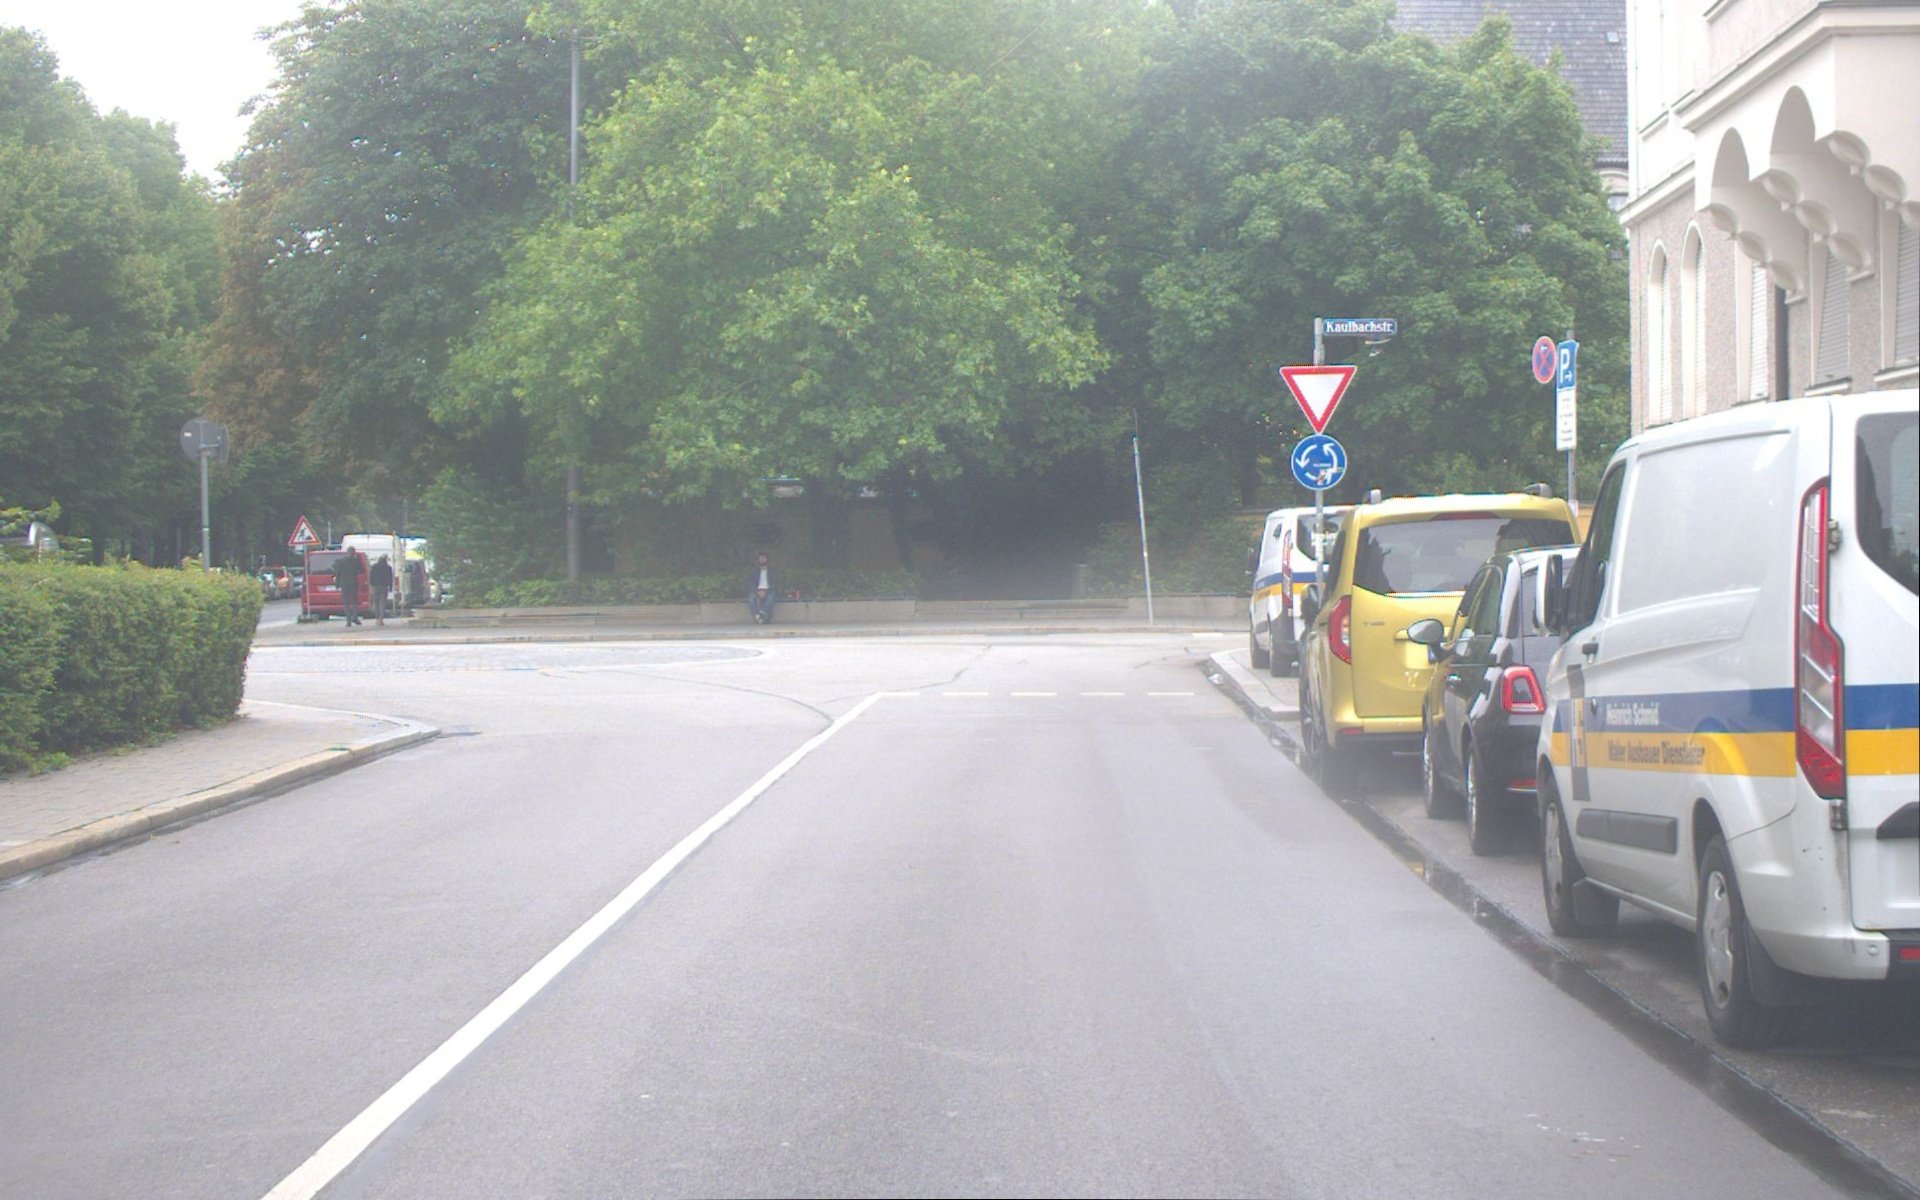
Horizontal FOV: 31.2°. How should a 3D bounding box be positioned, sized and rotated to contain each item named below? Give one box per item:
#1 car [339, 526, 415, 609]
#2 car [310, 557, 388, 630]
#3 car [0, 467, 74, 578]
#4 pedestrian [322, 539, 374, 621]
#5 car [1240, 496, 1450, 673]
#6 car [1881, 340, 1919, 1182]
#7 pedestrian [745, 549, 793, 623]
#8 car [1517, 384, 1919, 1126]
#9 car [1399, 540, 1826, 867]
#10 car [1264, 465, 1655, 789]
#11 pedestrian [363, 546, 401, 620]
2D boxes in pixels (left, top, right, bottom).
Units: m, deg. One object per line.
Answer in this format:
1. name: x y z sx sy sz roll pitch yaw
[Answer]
1. car: -18.611 -1.039 109.903 1.993 2.549 5.431 -1 1 -6
2. car: -16.738 -0.197 94.318 1.911 1.930 4.970 -1 1 -8
3. car: -26.322 -2.113 96.070 2.172 2.992 6.235 -1 1 -7
4. pedestrian: -13.901 -0.460 78.085 0.820 1.830 0.952 -1 1 -33
5. car: 4.524 -0.225 41.101 1.938 1.915 5.374 -2 1 1
6. car: 3.198 0.385 5.610 1.993 1.911 4.878 -1 1 -1
7. pedestrian: -3.563 -0.272 64.277 0.769 1.352 1.131 -1 1 3
8. car: 3.211 0.351 11.305 1.993 1.911 4.886 -1 1 1
9. car: 3.286 0.452 17.963 1.633 1.509 3.885 -1 1 2
10. car: 3.193 0.129 22.870 1.993 1.911 4.571 -1 1 1
11. pedestrian: -13.111 -0.383 77.935 0.633 1.661 0.697 -1 1 -28
